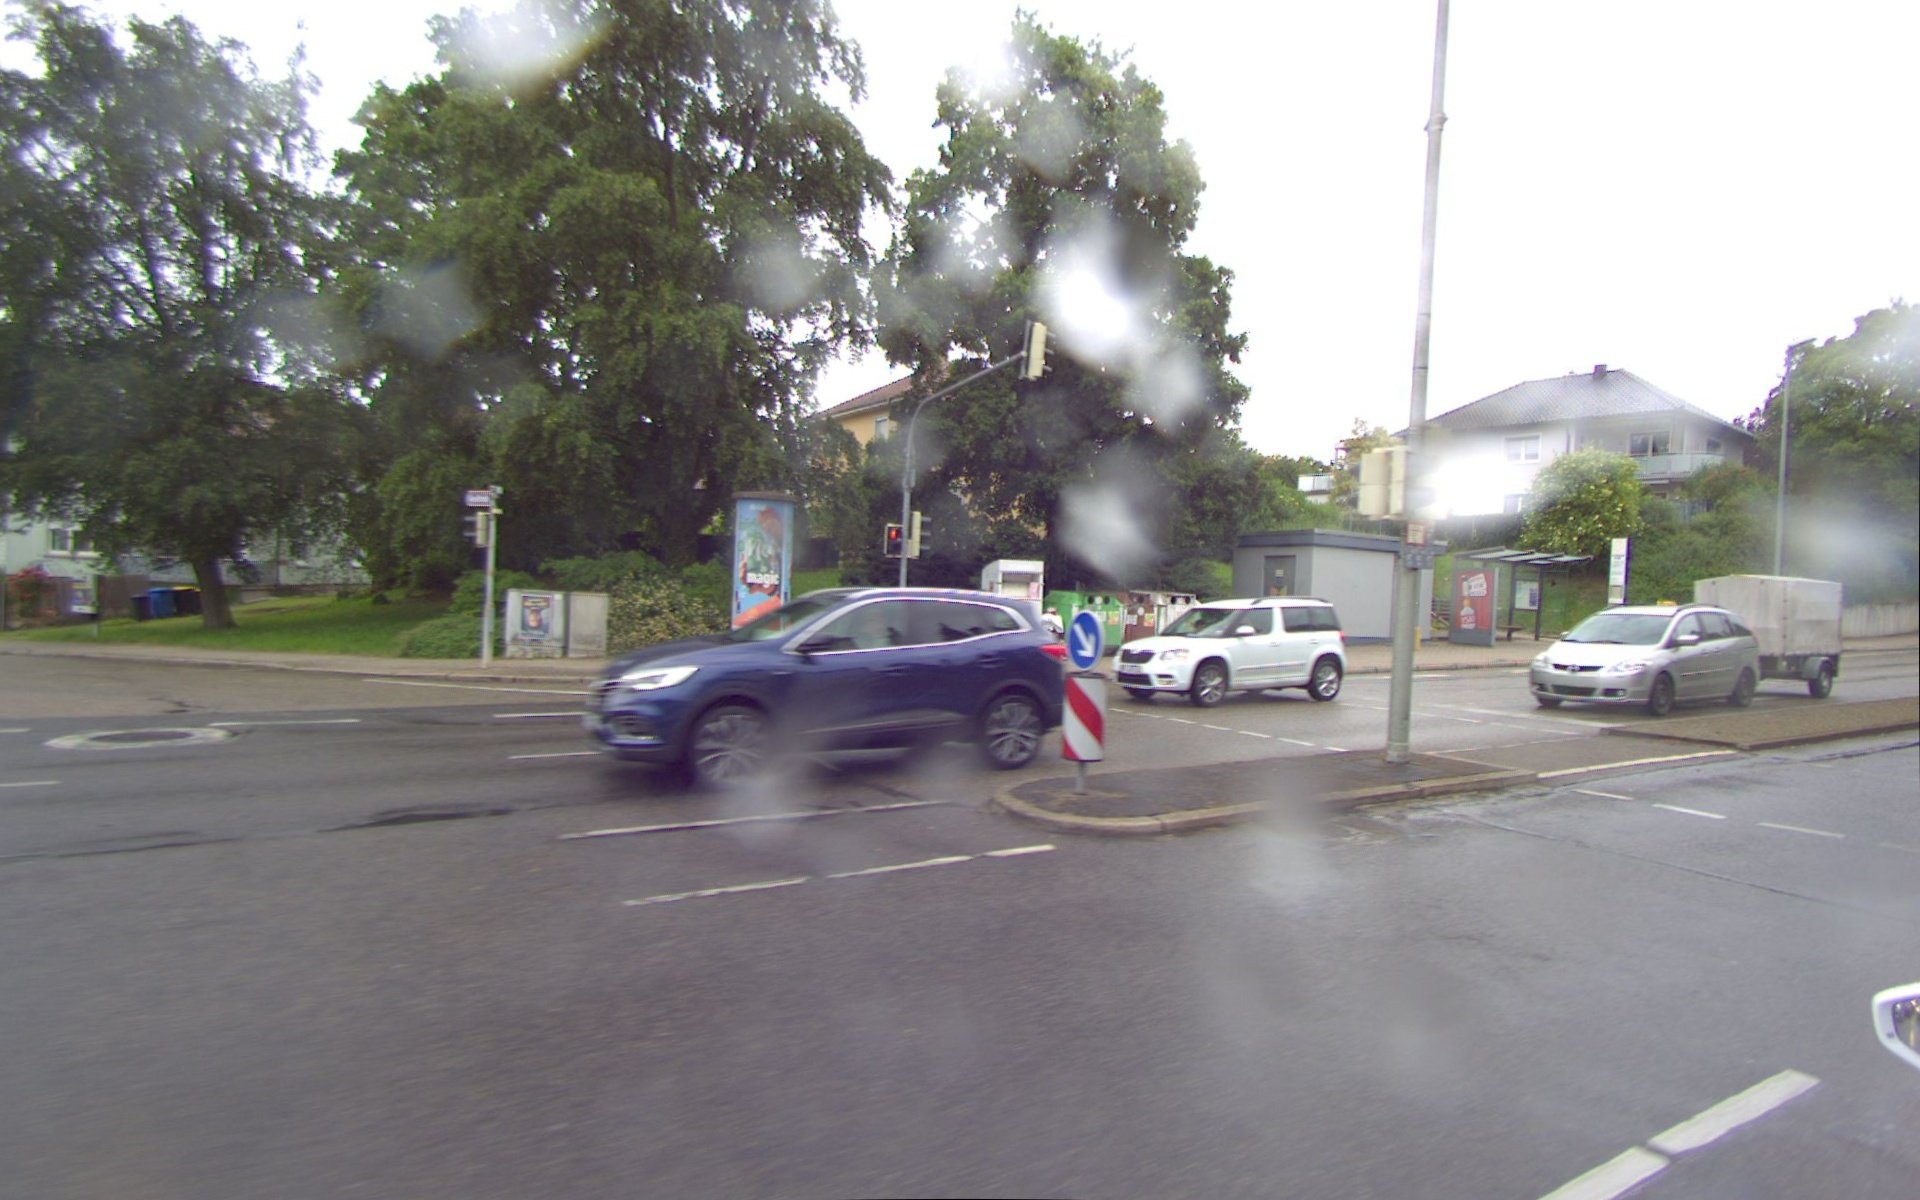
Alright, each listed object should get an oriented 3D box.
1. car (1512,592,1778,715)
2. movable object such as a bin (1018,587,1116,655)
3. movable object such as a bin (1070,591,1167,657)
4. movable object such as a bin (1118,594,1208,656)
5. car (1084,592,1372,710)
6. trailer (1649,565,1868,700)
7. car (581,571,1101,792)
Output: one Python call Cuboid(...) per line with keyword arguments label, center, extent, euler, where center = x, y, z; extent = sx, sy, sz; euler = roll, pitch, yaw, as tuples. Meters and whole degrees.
Cuboid(label="car", center=(10.940, 0.746, 15.969), extent=(4.429, 1.705, 1.889), euler=(0, 1, -32))
Cuboid(label="movable object such as a bin", center=(2.609, 0.487, 24.736), extent=(1.561, 1.590, 2.050), euler=(0, 0, -27))
Cuboid(label="movable object such as a bin", center=(3.993, 0.568, 25.496), extent=(1.561, 1.590, 2.050), euler=(0, 0, -27))
Cuboid(label="movable object such as a bin", center=(5.275, 0.618, 26.178), extent=(1.326, 1.535, 2.050), euler=(0, 0, -27))
Cuboid(label="car", center=(4.346, 0.797, 16.162), extent=(4.410, 1.679, 1.816), euler=(2, -1, -28))
Cuboid(label="trailer", center=(14.526, 0.567, 18.239), extent=(3.991, 2.208, 1.886), euler=(1, 0, -32))
Cuboid(label="car", center=(-0.963, 0.645, 9.133), extent=(4.339, 1.572, 1.829), euler=(2, -1, -34))
